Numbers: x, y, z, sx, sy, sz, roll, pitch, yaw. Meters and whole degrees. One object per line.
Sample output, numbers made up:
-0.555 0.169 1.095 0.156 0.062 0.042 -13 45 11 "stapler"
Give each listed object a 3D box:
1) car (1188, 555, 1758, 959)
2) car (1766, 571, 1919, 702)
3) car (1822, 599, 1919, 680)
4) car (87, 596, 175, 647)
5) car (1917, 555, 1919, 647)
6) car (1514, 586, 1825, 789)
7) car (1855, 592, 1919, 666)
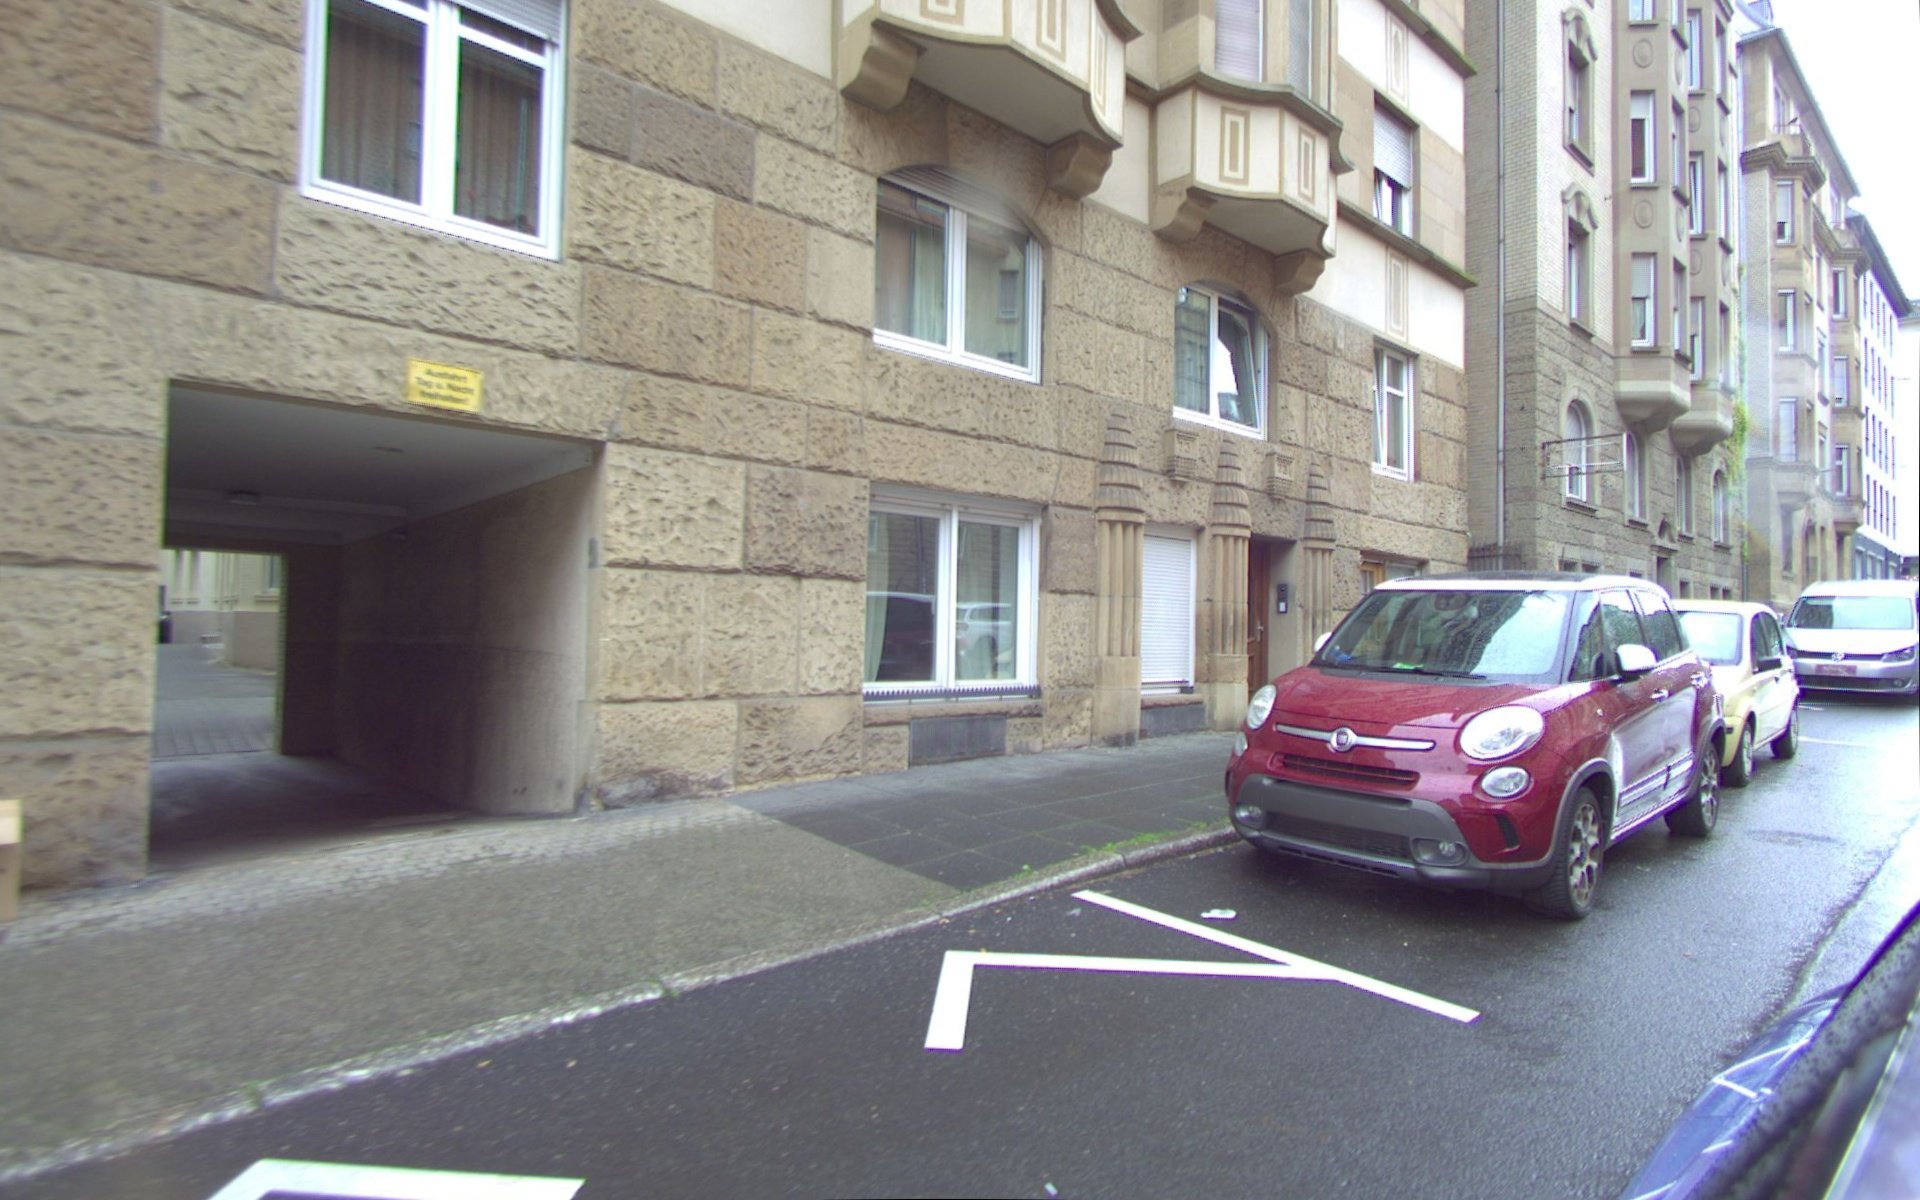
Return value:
3.257 0.607 6.055 3.932 1.621 1.772 0 1 -42 "car"
14.156 0.495 15.769 3.893 1.791 1.809 0 0 -41 "car"
17.936 0.687 19.116 3.912 1.406 1.929 0 -1 -41 "car"
-24.561 0.588 29.934 1.765 1.363 4.008 -1 1 -43 "car"
29.693 0.001 29.332 6.042 2.567 1.991 0 -1 -39 "car"
6.692 0.669 9.420 3.471 1.530 1.630 0 -1 -42 "car"
21.276 0.595 22.203 3.987 1.544 1.933 0 -1 -41 "car"
